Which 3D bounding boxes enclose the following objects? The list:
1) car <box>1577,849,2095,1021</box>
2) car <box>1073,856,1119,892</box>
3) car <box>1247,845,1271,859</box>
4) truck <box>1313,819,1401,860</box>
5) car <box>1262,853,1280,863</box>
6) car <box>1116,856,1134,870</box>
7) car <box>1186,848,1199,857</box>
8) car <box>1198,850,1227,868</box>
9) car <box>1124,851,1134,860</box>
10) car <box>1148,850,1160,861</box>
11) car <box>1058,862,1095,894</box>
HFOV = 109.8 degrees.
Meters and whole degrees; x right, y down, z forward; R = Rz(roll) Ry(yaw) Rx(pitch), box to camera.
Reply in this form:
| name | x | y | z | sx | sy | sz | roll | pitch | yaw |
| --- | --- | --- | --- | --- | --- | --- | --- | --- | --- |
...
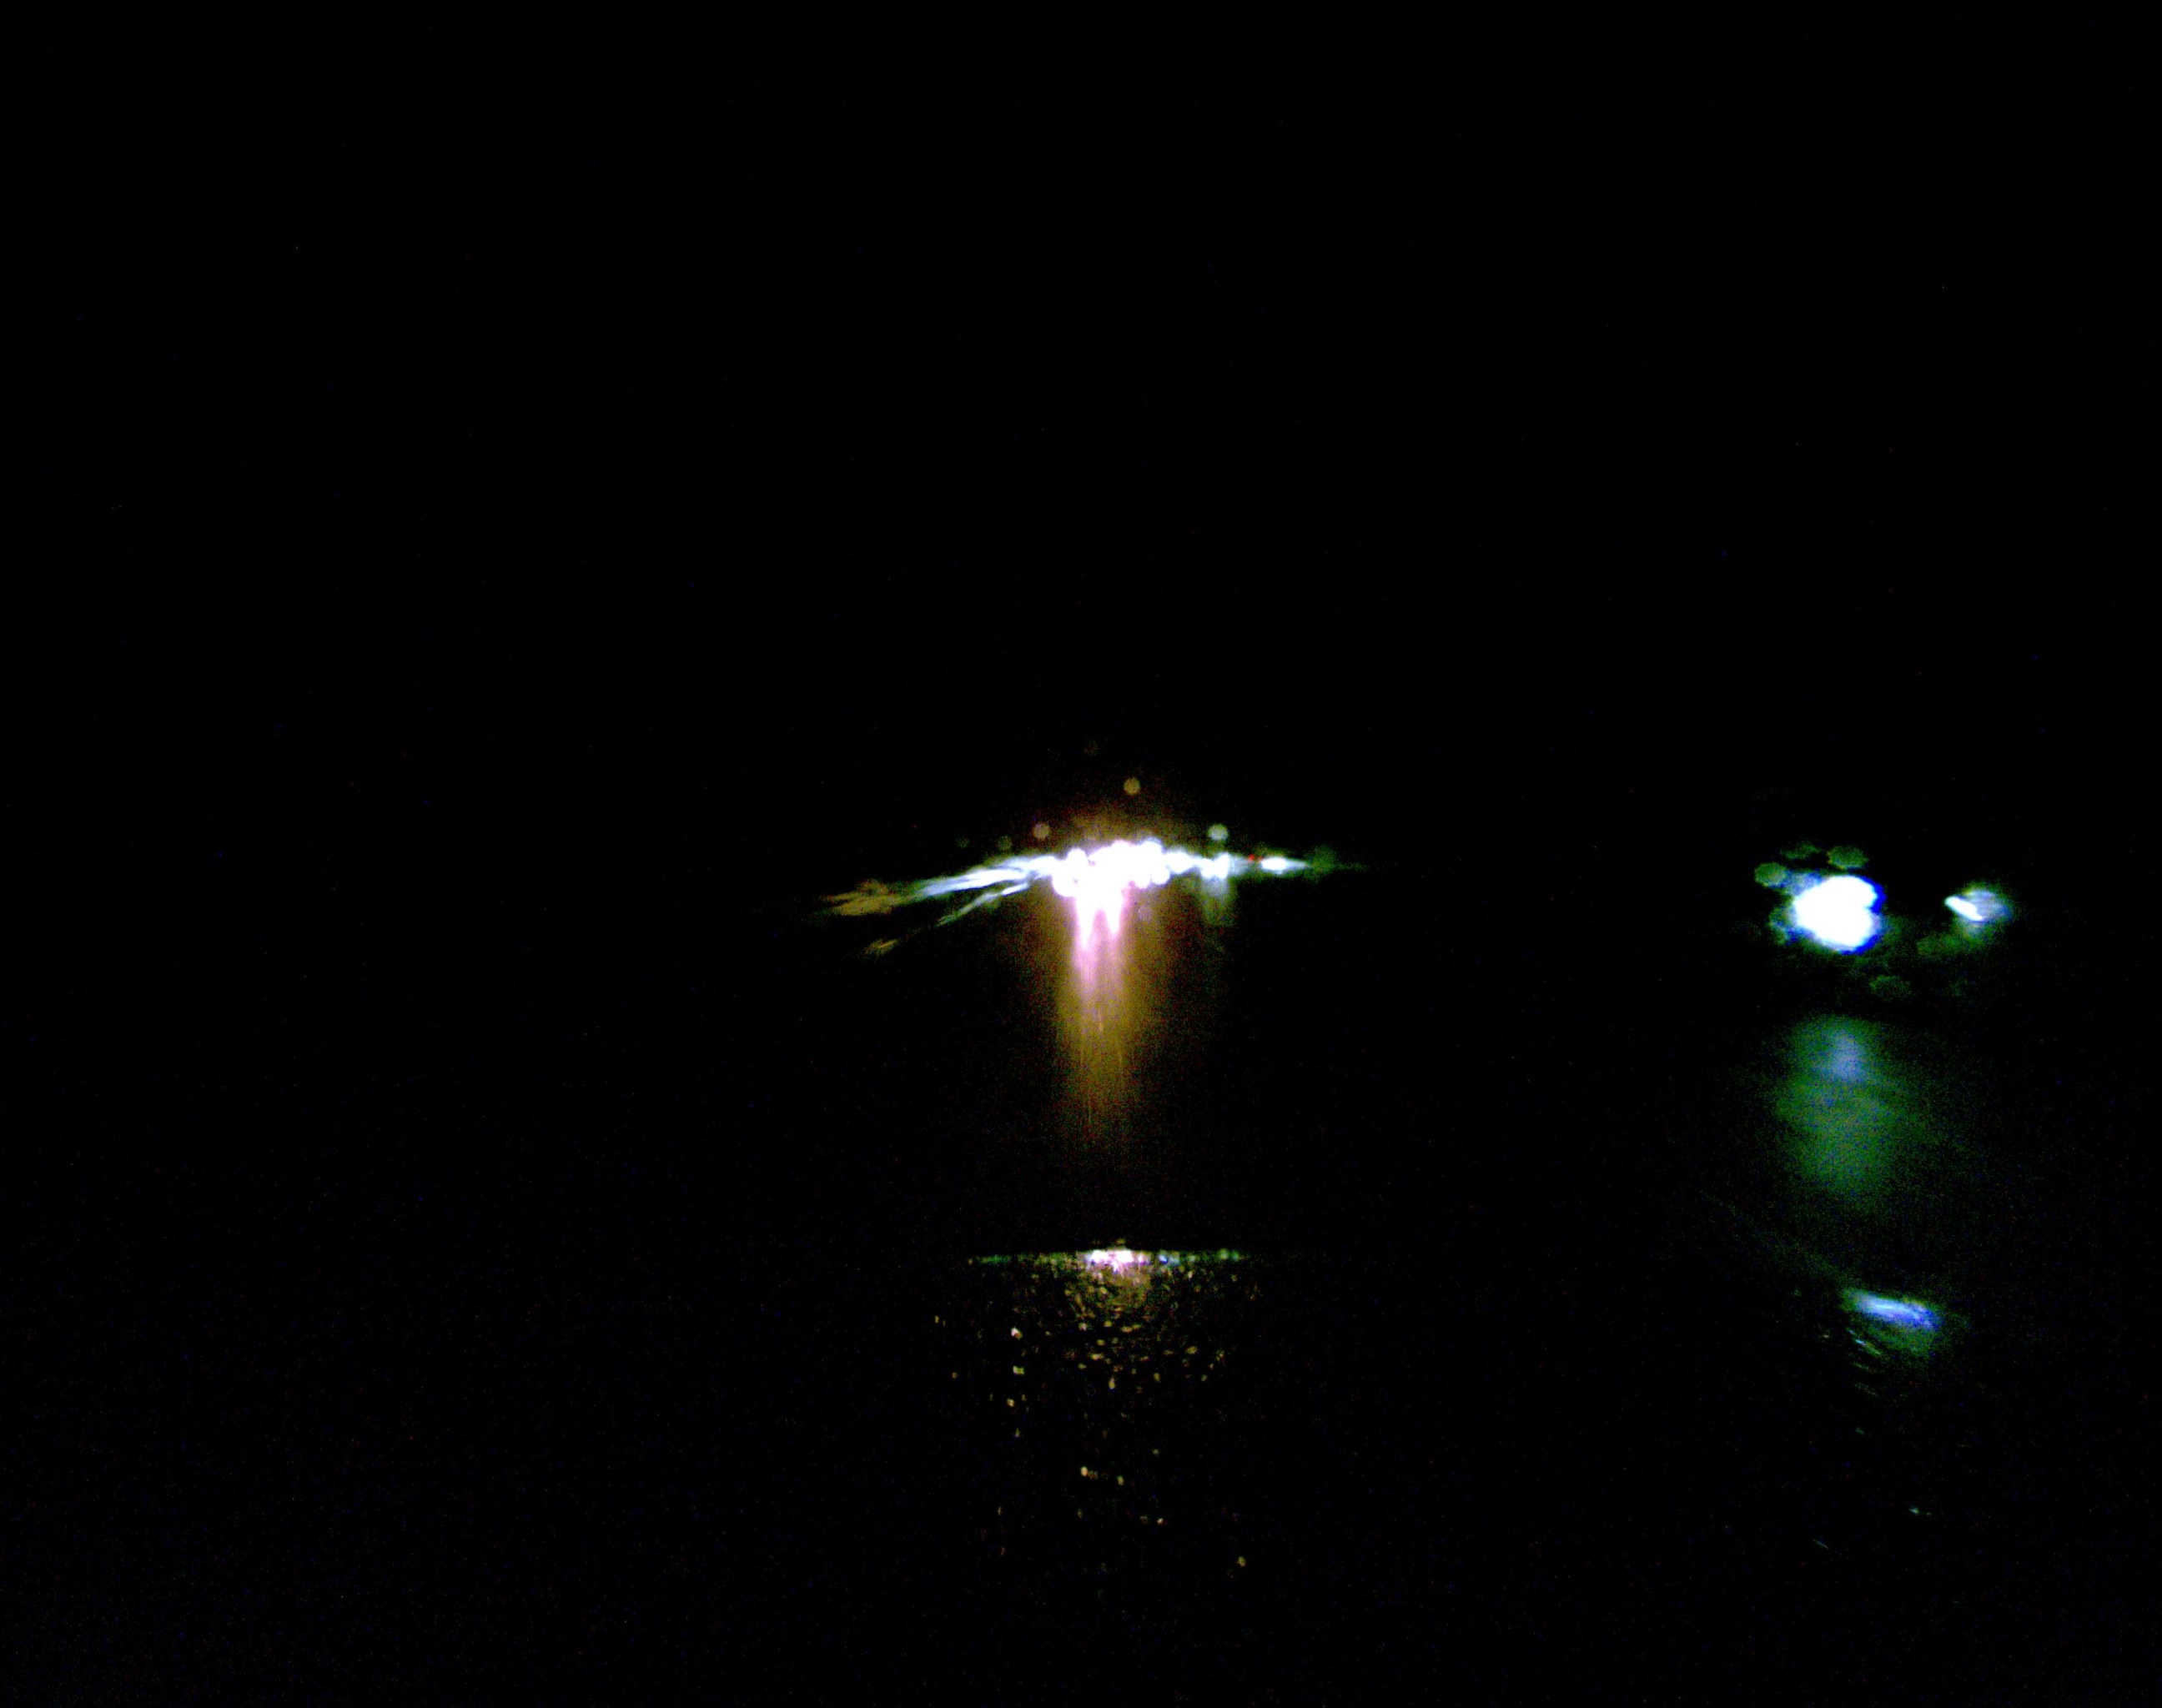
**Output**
| name | x | y | z | sx | sy | sz | roll | pitch | yaw |
| --- | --- | --- | --- | --- | --- | --- | --- | --- | --- |
| car | 8.010 | 0.705 | 8.744 | 1.998 | 1.433 | 4.000 | -2 | 1 | 1 |
| car | 0.731 | 0.965 | 36.267 | 1.998 | 1.542 | 4.001 | -2 | -2 | 1 |
| car | 22.384 | -0.254 | 95.553 | 1.884 | 1.548 | 4.460 | -2 | 1 | 0 |
| truck | 29.542 | -1.545 | 82.704 | 3.508 | 3.865 | 17.179 | -2 | 1 | 1 |
| car | 33.092 | 0.683 | 132.403 | 1.884 | 1.548 | 4.460 | -2 | 1 | 0 |
| car | 5.558 | 1.135 | 95.902 | 1.998 | 1.551 | 4.587 | -2 | 1 | 1 |
| car | 22.810 | -0.329 | 155.720 | 1.884 | 1.548 | 4.460 | -2 | 1 | 0 |
| car | 12.446 | 0.435 | 72.301 | 1.998 | 1.551 | 4.587 | -2 | 1 | 1 |
| car | 10.179 | 0.363 | 161.323 | 1.998 | 1.797 | 4.000 | -2 | 1 | 2 |
| car | 13.584 | 0.298 | 141.485 | 1.998 | 1.797 | 4.000 | -2 | 1 | 2 |
| car | -0.152 | 1.031 | 33.922 | 1.525 | 1.256 | 3.369 | -2 | 1 | 1 |
